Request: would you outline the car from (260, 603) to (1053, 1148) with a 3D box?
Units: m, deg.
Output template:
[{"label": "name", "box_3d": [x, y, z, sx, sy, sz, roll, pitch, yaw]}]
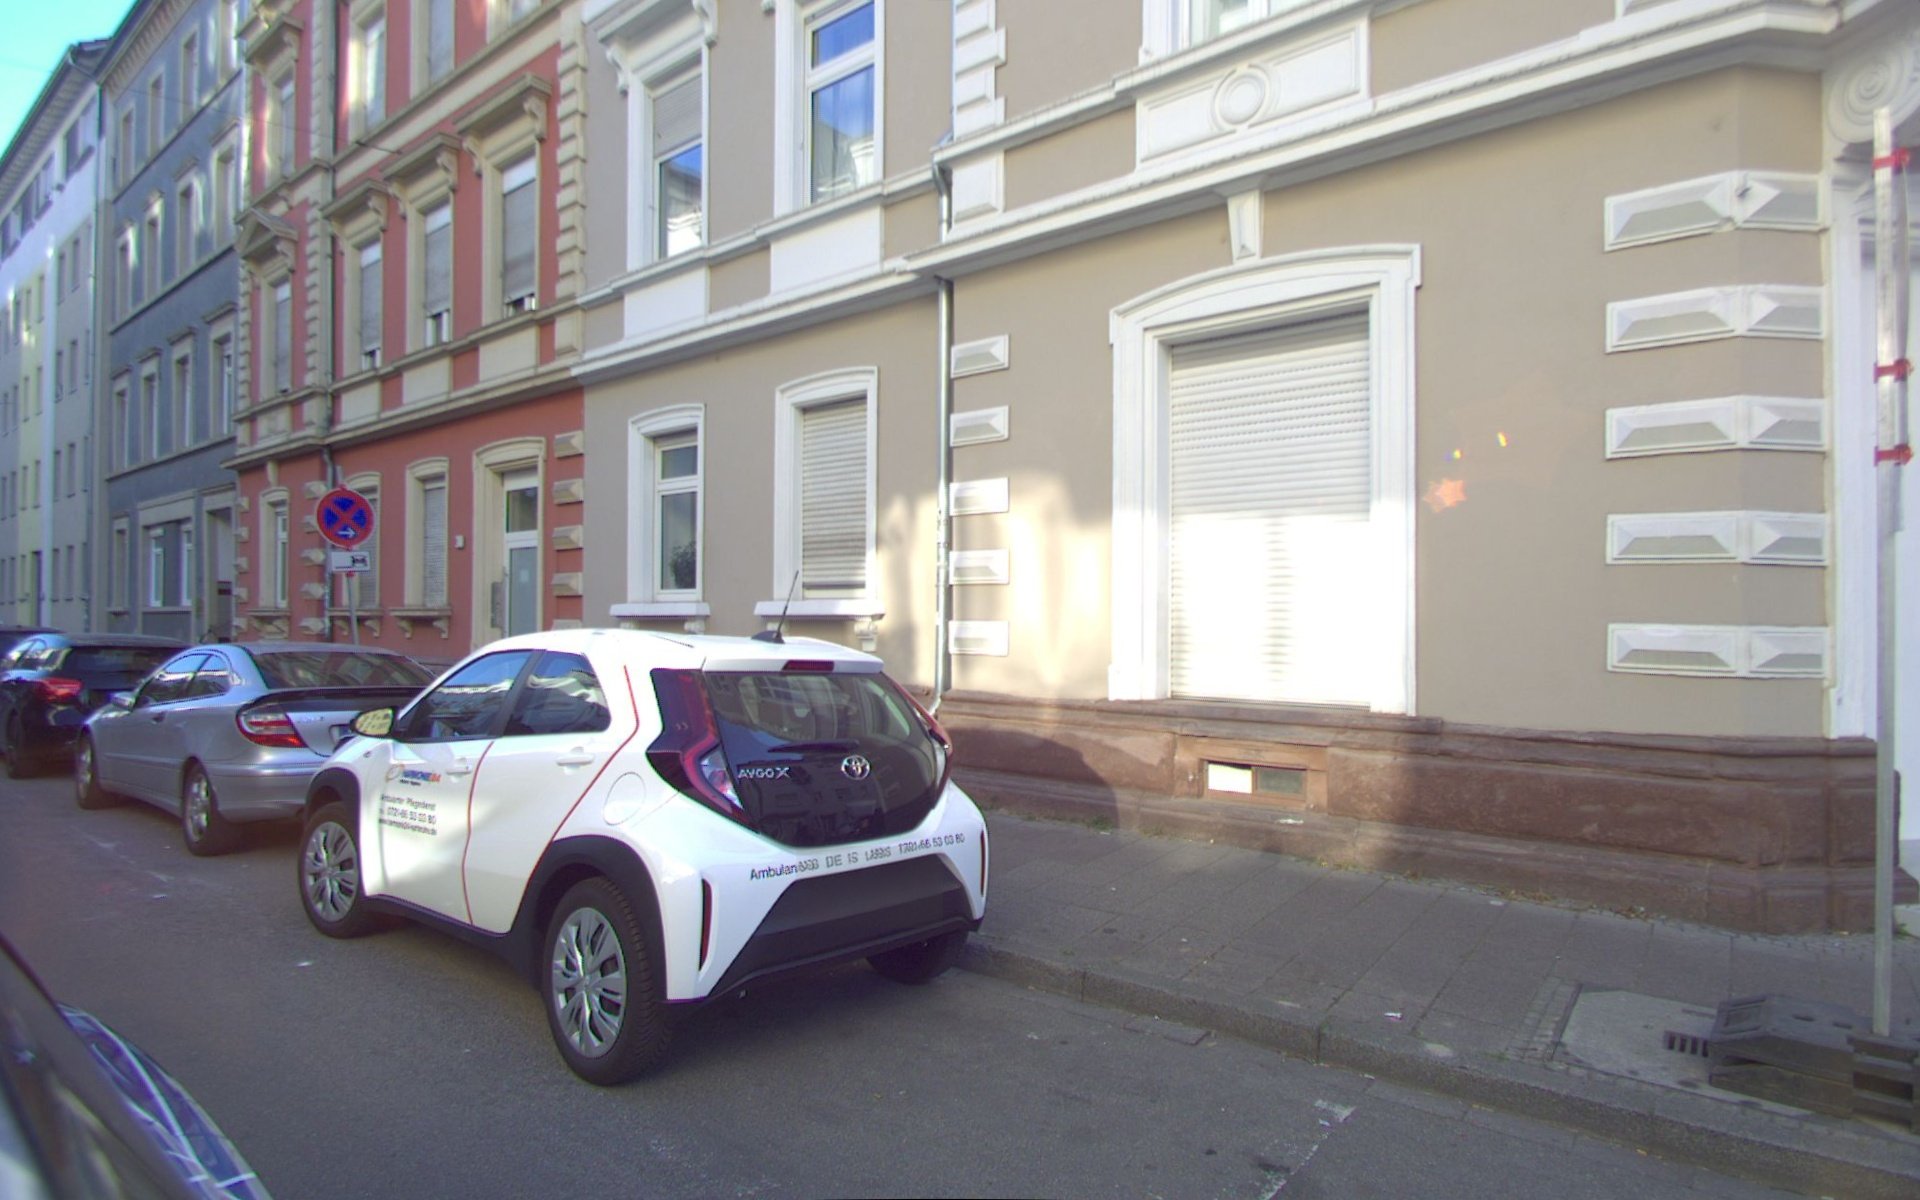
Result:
[{"label": "car", "box_3d": [-1.636, 0.845, 4.730, 3.841, 1.507, 1.667, -1, -5, 40]}]

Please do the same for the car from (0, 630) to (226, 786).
[{"label": "car", "box_3d": [-9.749, 1.093, 11.195, 3.907, 1.426, 1.569, -1, -5, 39]}]

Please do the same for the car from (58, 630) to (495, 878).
[{"label": "car", "box_3d": [-5.447, 1.003, 7.900, 3.956, 1.439, 1.594, -1, -4, 37]}]

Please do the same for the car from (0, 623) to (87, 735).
[{"label": "car", "box_3d": [-14.536, 1.090, 15.015, 4.189, 1.510, 1.519, -1, -3, 37]}]

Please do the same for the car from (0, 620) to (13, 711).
[{"label": "car", "box_3d": [-18.472, 1.135, 18.106, 4.423, 1.534, 1.578, -1, -1, 38]}]
